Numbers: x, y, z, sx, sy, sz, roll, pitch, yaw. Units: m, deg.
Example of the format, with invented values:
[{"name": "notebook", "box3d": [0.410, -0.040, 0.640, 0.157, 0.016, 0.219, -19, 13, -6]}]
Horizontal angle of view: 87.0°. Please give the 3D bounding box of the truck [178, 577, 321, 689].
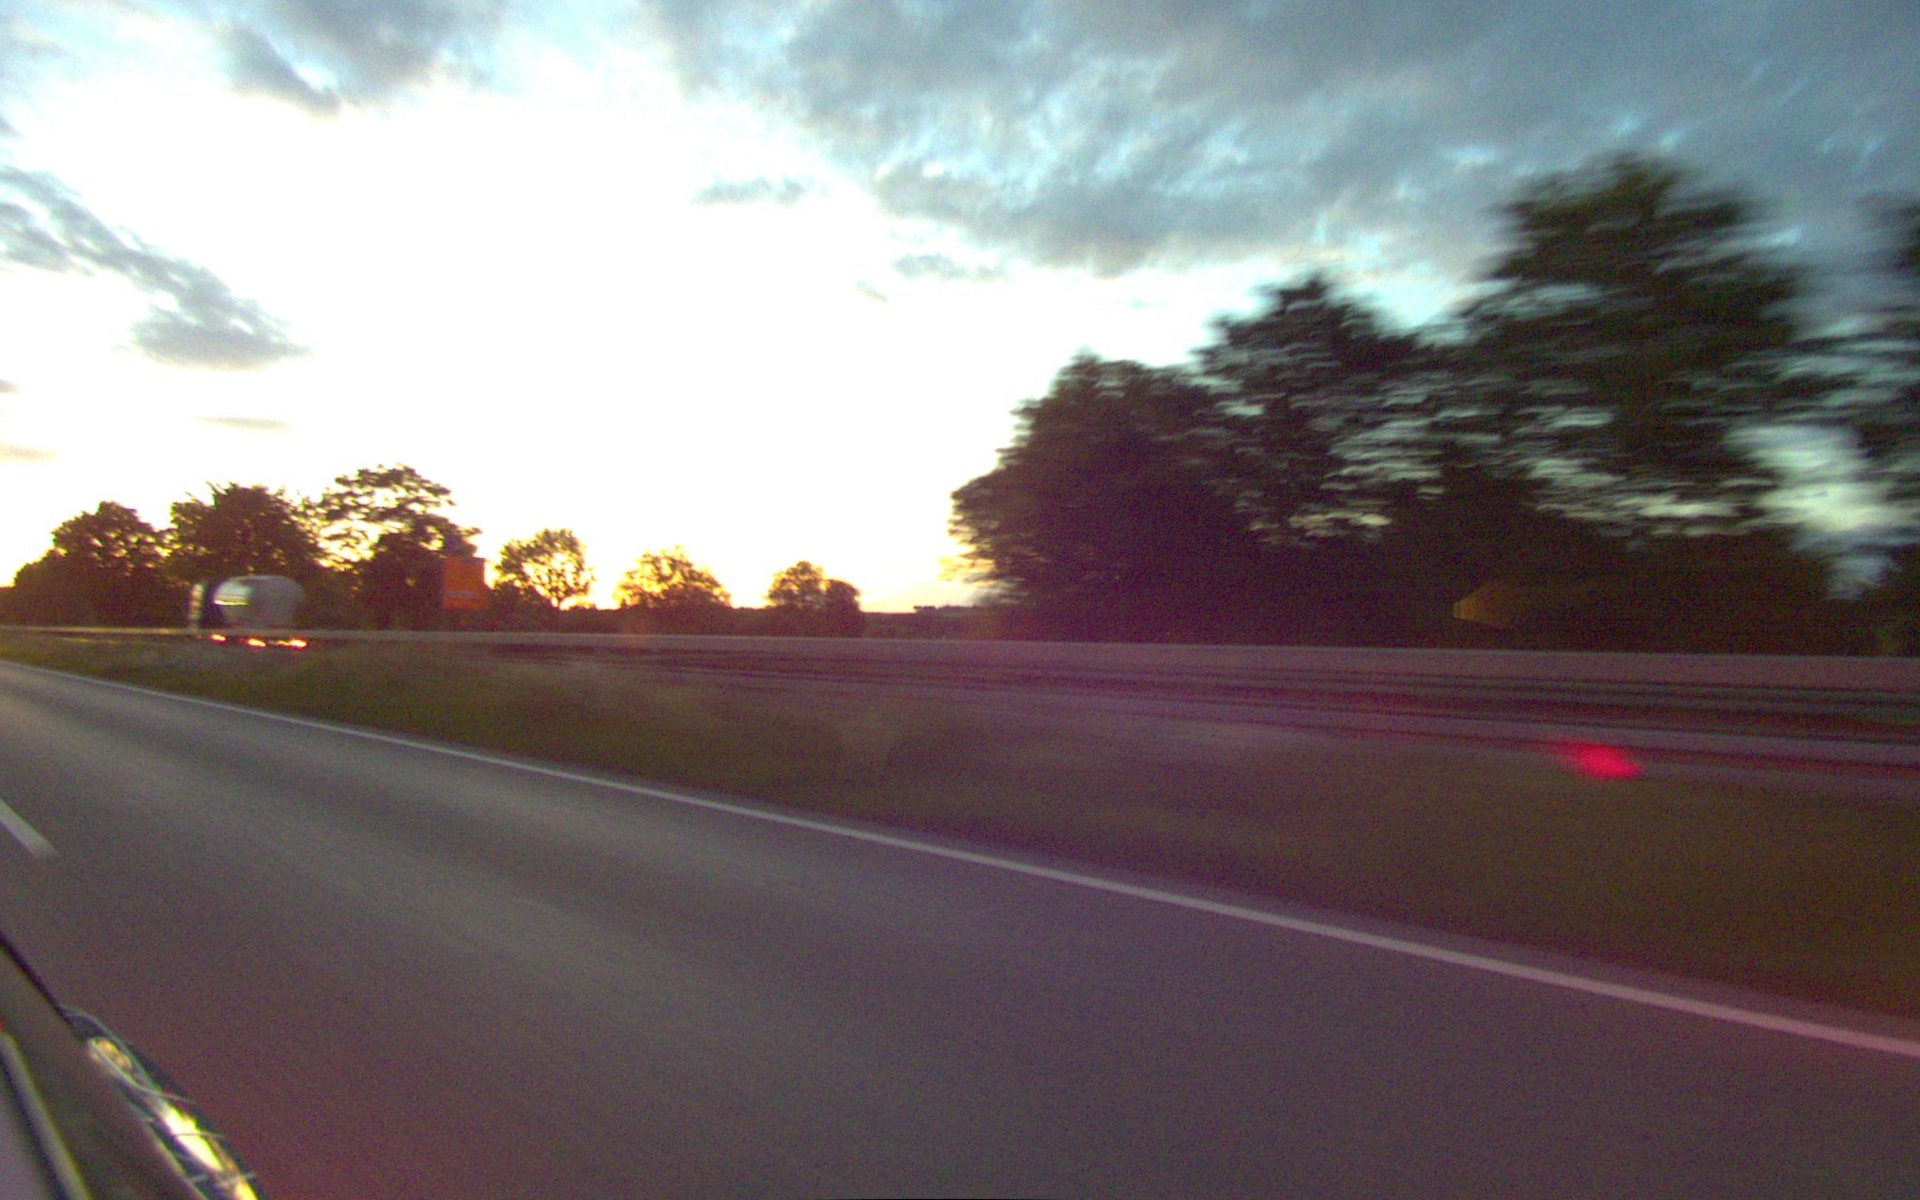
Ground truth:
[{"name": "truck", "box3d": [-37.618, 1.617, 53.298, 12.602, 5.295, 3.169, -1, 0, 41]}]
